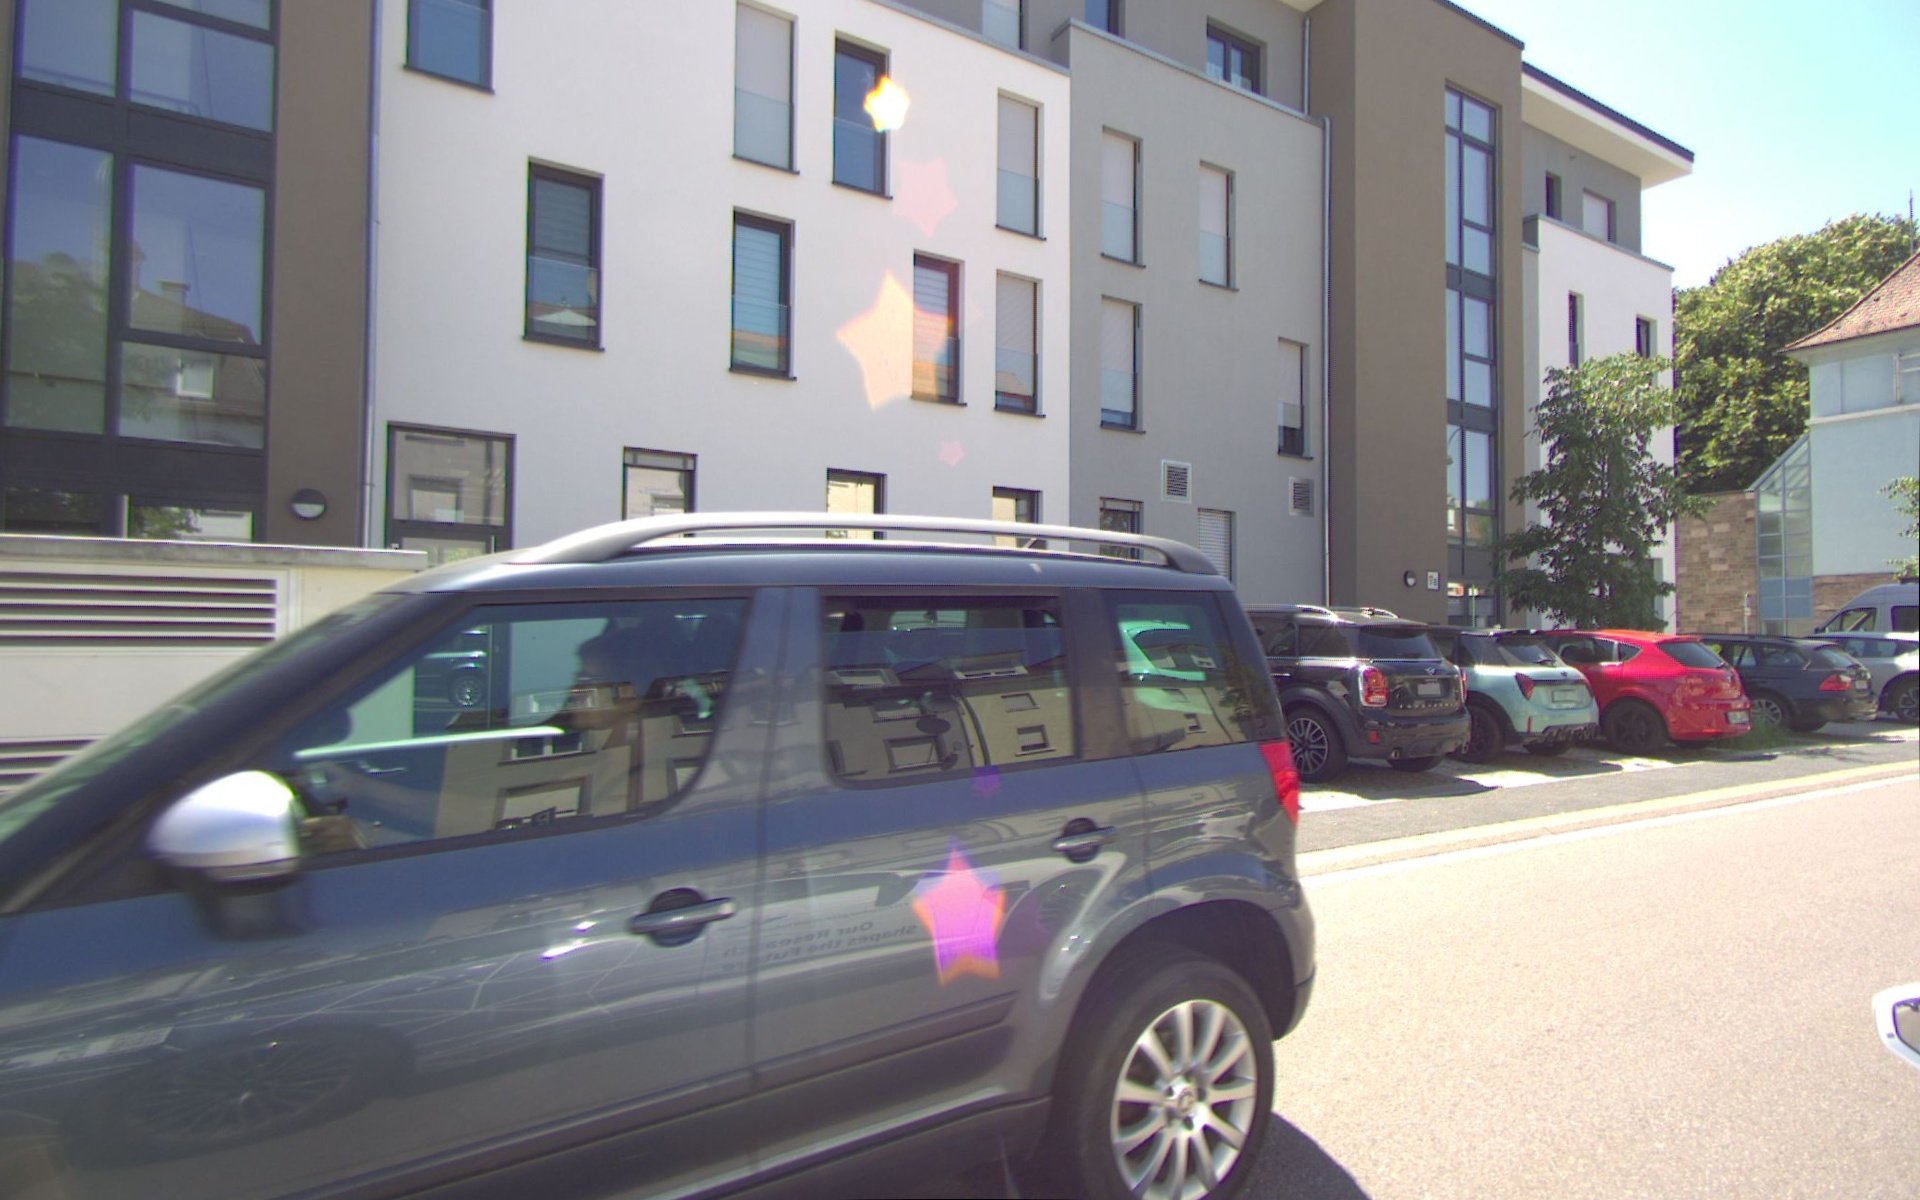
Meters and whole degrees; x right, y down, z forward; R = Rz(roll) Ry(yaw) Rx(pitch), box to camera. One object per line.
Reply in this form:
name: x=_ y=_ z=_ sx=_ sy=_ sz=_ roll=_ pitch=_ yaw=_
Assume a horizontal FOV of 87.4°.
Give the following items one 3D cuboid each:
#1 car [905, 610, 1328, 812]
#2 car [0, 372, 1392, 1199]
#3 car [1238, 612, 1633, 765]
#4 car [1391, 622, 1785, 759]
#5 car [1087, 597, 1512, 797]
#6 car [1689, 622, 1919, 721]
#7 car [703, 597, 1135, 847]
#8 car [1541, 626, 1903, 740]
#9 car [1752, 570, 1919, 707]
car: x=1.218 y=0.854 z=9.501 sx=1.887 sy=1.440 sz=3.968 roll=2 pitch=-1 yaw=-30
car: x=-1.010 y=0.609 z=2.440 sx=4.030 sy=1.724 sz=1.801 roll=2 pitch=-1 yaw=-31
car: x=5.586 y=0.943 z=12.344 sx=1.975 sy=1.516 sz=4.016 roll=2 pitch=-1 yaw=-28
car: x=8.080 y=1.054 z=13.338 sx=1.975 sy=1.449 sz=4.016 roll=1 pitch=0 yaw=-28
car: x=3.337 y=0.853 z=10.678 sx=1.975 sy=1.673 sz=4.016 roll=2 pitch=-1 yaw=-28
car: x=16.269 y=1.253 z=18.307 sx=1.977 sy=1.612 sz=4.432 roll=2 pitch=-1 yaw=-30
car: x=-0.600 y=0.788 z=8.395 sx=1.977 sy=1.535 sz=3.968 roll=2 pitch=-1 yaw=-30
car: x=11.739 y=1.189 z=15.760 sx=1.867 sy=1.456 sz=4.173 roll=2 pitch=-1 yaw=-34
car: x=20.361 y=0.807 z=20.860 sx=2.264 sy=2.768 sz=5.741 roll=2 pitch=-1 yaw=-29
